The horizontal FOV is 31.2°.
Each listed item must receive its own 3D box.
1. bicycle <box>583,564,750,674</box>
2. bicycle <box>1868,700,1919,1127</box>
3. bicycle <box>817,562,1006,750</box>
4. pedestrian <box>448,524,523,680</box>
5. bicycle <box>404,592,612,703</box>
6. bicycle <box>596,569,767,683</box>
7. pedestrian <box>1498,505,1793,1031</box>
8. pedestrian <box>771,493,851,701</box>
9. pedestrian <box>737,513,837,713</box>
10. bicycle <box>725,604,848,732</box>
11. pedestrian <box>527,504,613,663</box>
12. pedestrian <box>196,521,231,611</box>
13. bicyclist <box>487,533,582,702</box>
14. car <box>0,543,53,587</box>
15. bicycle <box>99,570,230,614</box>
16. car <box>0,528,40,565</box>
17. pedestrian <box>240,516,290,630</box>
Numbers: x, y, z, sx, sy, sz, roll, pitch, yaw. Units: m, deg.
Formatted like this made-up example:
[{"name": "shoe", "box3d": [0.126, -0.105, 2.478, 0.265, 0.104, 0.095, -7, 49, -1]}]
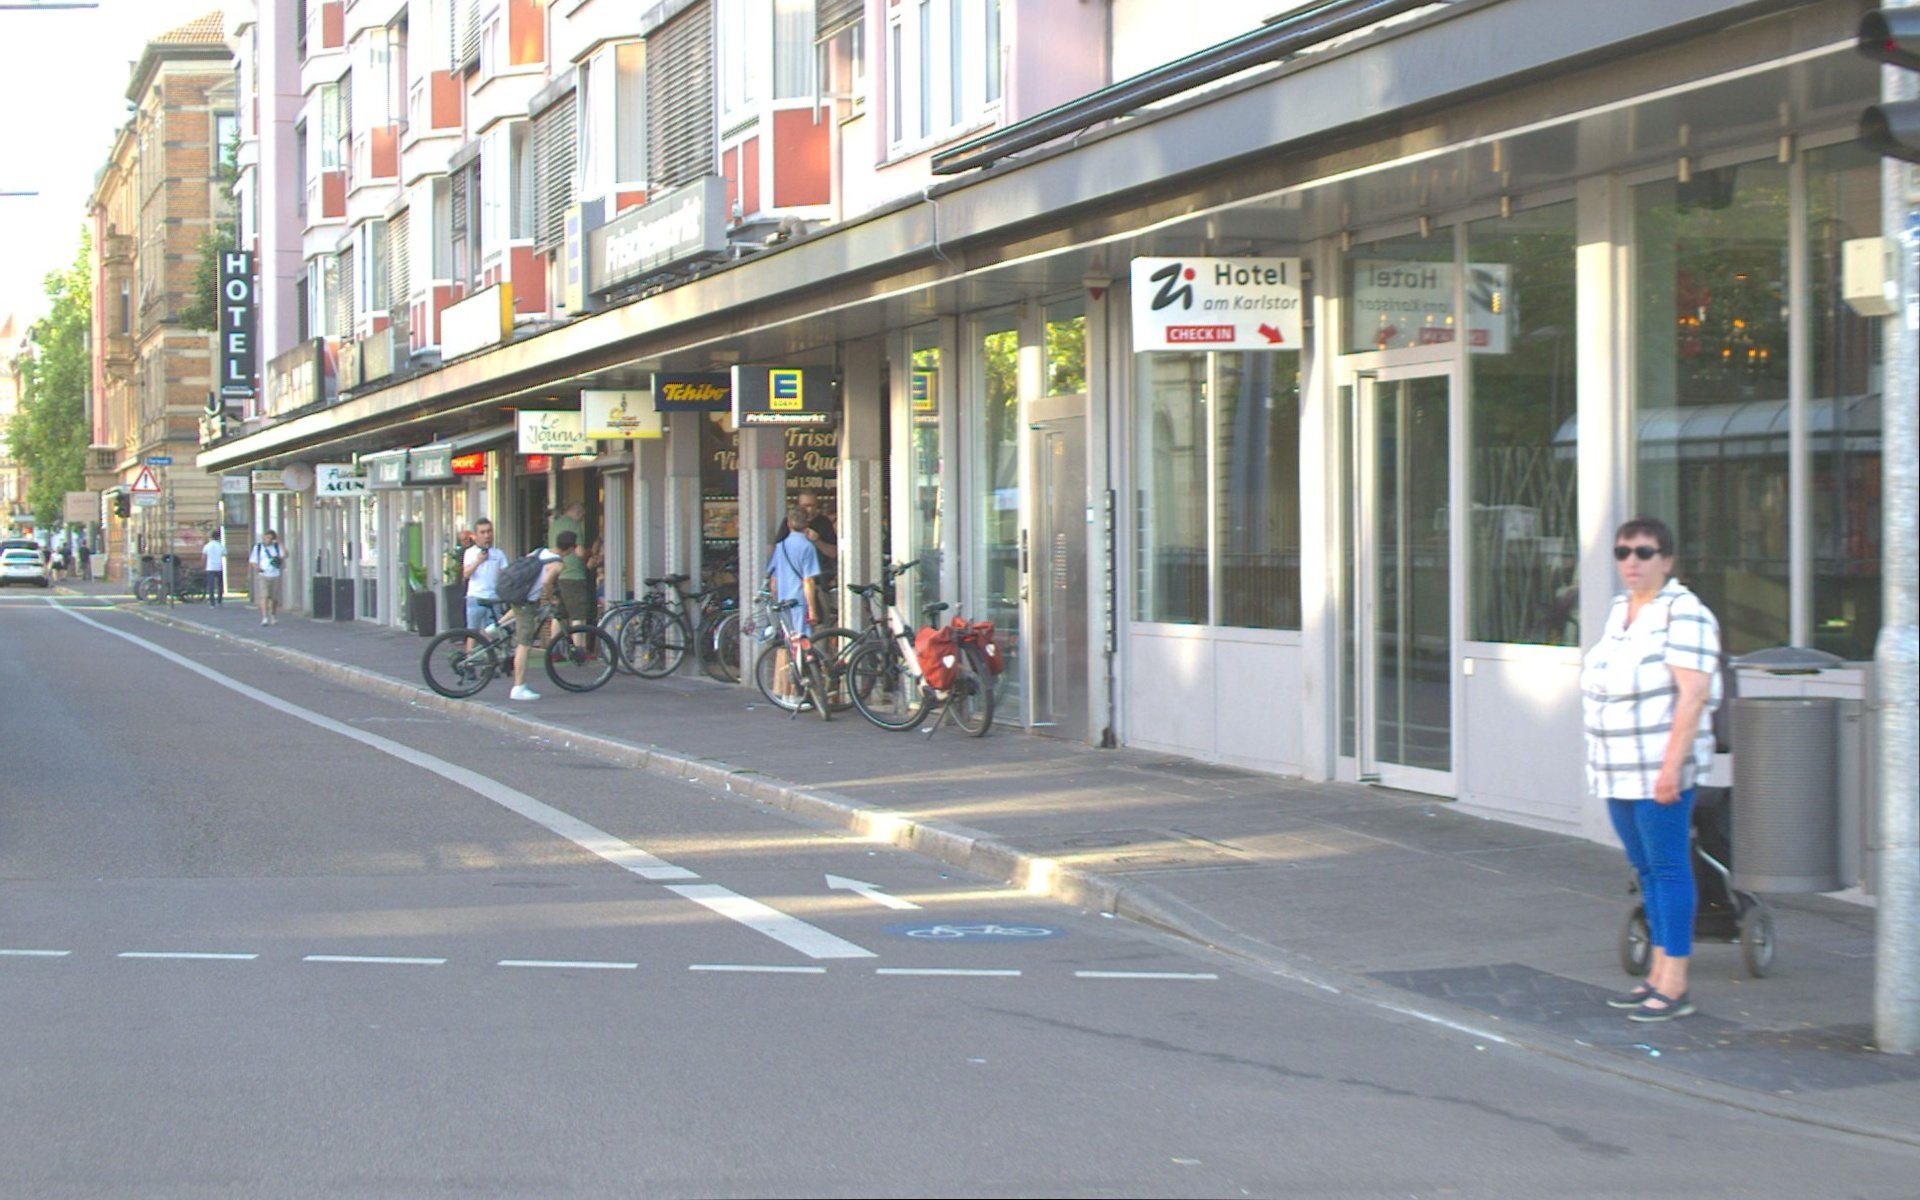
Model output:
[{"name": "bicycle", "box3d": [-3.079, 0.192, 36.108, 1.643, 1.115, 0.566, 0, 2, -22]}, {"name": "bicycle", "box3d": [3.468, 0.828, 9.506, 1.763, 1.141, 0.641, -3, 3, -18]}, {"name": "bicycle", "box3d": [-0.365, 0.358, 23.974, 0.727, 1.222, 2.333, 0, 1, -16]}, {"name": "pedestrian", "box3d": [-5.068, 0.015, 36.681, 0.750, 1.639, 0.550, 0, 2, -12]}, {"name": "bicycle", "box3d": [-4.288, 0.447, 32.712, 1.904, 0.927, 0.629, -3, 2, -6]}, {"name": "bicycle", "box3d": [-2.813, 0.256, 34.704, 1.643, 1.115, 0.484, 0, 2, -22]}, {"name": "pedestrian", "box3d": [2.251, 0.523, 11.296, 0.716, 1.656, 0.632, 0, 1, 45]}, {"name": "pedestrian", "box3d": [-1.349, -0.036, 31.007, 0.608, 1.846, 0.604, 0, 2, -12]}, {"name": "pedestrian", "box3d": [-1.443, 0.099, 28.665, 0.609, 1.629, 0.603, 2, 2, 24]}, {"name": "bicycle", "box3d": [-1.371, 0.509, 26.844, 0.499, 0.914, 2.079, 0, 1, -16]}, {"name": "pedestrian", "box3d": [-4.431, -0.201, 39.110, 0.818, 1.772, 0.680, 1, 2, 8]}, {"name": "pedestrian", "box3d": [-16.810, -0.767, 77.428, 0.773, 2.006, 0.505, 0, 2, -13]}, {"name": "bicyclist", "box3d": [-4.003, 0.156, 32.379, 0.799, 1.527, 0.629, -3, 2, -6]}, {"name": "car", "box3d": [-35.925, -1.374, 132.174, 1.993, 1.546, 4.002, 0, 3, -15]}, {"name": "bicycle", "box3d": [-19.673, -0.205, 85.063, 3.165, 0.989, 0.901, -2, 3, -45]}, {"name": "car", "box3d": [-42.390, -2.412, 154.580, 1.993, 1.546, 4.002, 0, 3, -15]}, {"name": "pedestrian", "box3d": [-12.378, -0.483, 61.221, 0.839, 2.006, 0.778, 0, 2, -12]}]
